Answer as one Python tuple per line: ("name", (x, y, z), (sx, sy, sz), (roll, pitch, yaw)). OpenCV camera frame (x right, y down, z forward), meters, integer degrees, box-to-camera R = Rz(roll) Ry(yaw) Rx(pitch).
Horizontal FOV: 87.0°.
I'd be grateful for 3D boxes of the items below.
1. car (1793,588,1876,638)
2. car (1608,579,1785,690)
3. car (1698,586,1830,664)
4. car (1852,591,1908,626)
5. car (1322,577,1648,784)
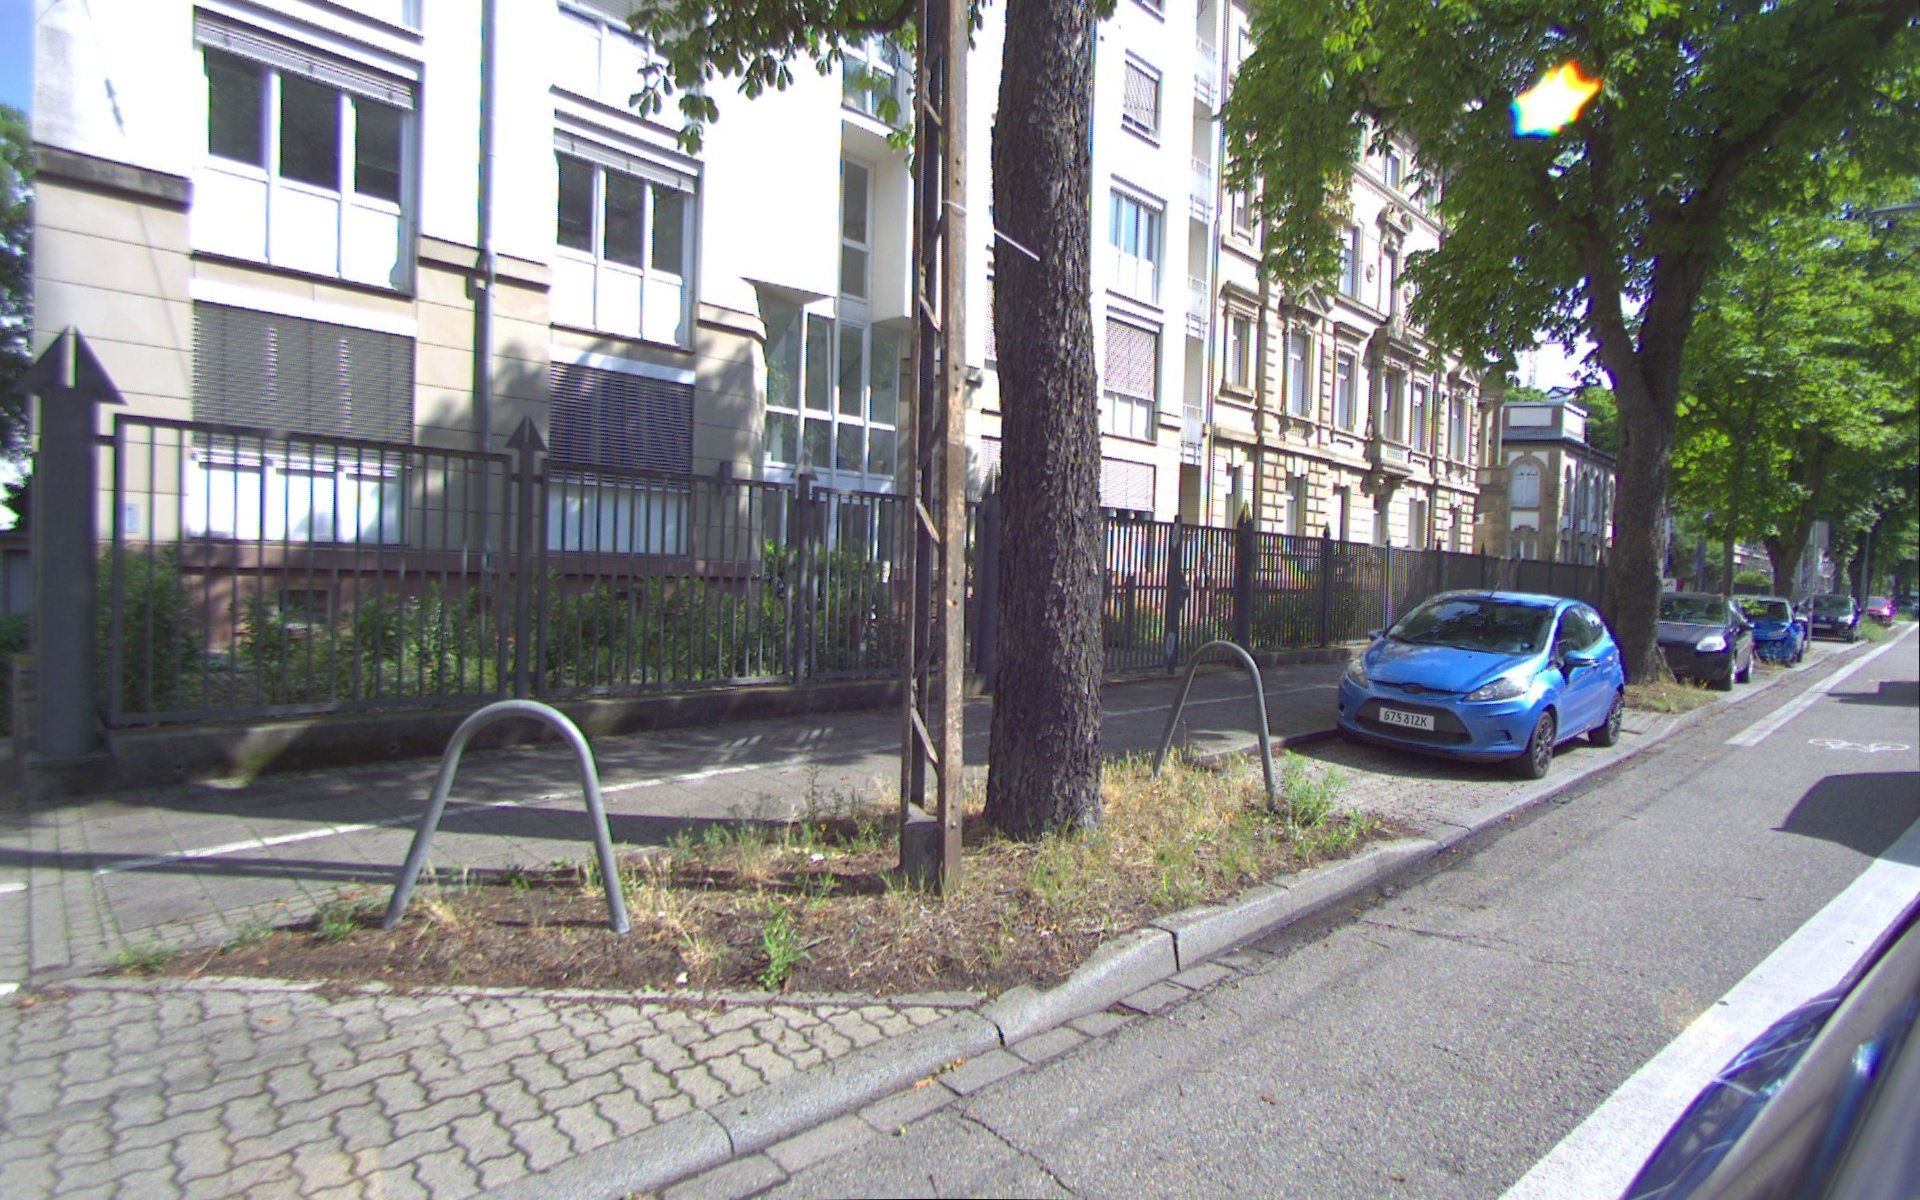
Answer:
("car", (30.838, 0.421, 35.659), (4.130, 1.549, 1.772), (0, 4, -44))
("car", (12.185, 0.495, 16.677), (3.562, 1.526, 1.643), (0, 4, -43))
("car", (17.812, 0.485, 22.362), (3.861, 1.469, 1.722), (0, 4, -44))
("car", (46.824, 0.396, 51.490), (4.130, 1.591, 1.772), (0, 4, -44))
("car", (5.032, 0.587, 9.488), (1.639, 1.472, 3.639), (6, 4, 45))
